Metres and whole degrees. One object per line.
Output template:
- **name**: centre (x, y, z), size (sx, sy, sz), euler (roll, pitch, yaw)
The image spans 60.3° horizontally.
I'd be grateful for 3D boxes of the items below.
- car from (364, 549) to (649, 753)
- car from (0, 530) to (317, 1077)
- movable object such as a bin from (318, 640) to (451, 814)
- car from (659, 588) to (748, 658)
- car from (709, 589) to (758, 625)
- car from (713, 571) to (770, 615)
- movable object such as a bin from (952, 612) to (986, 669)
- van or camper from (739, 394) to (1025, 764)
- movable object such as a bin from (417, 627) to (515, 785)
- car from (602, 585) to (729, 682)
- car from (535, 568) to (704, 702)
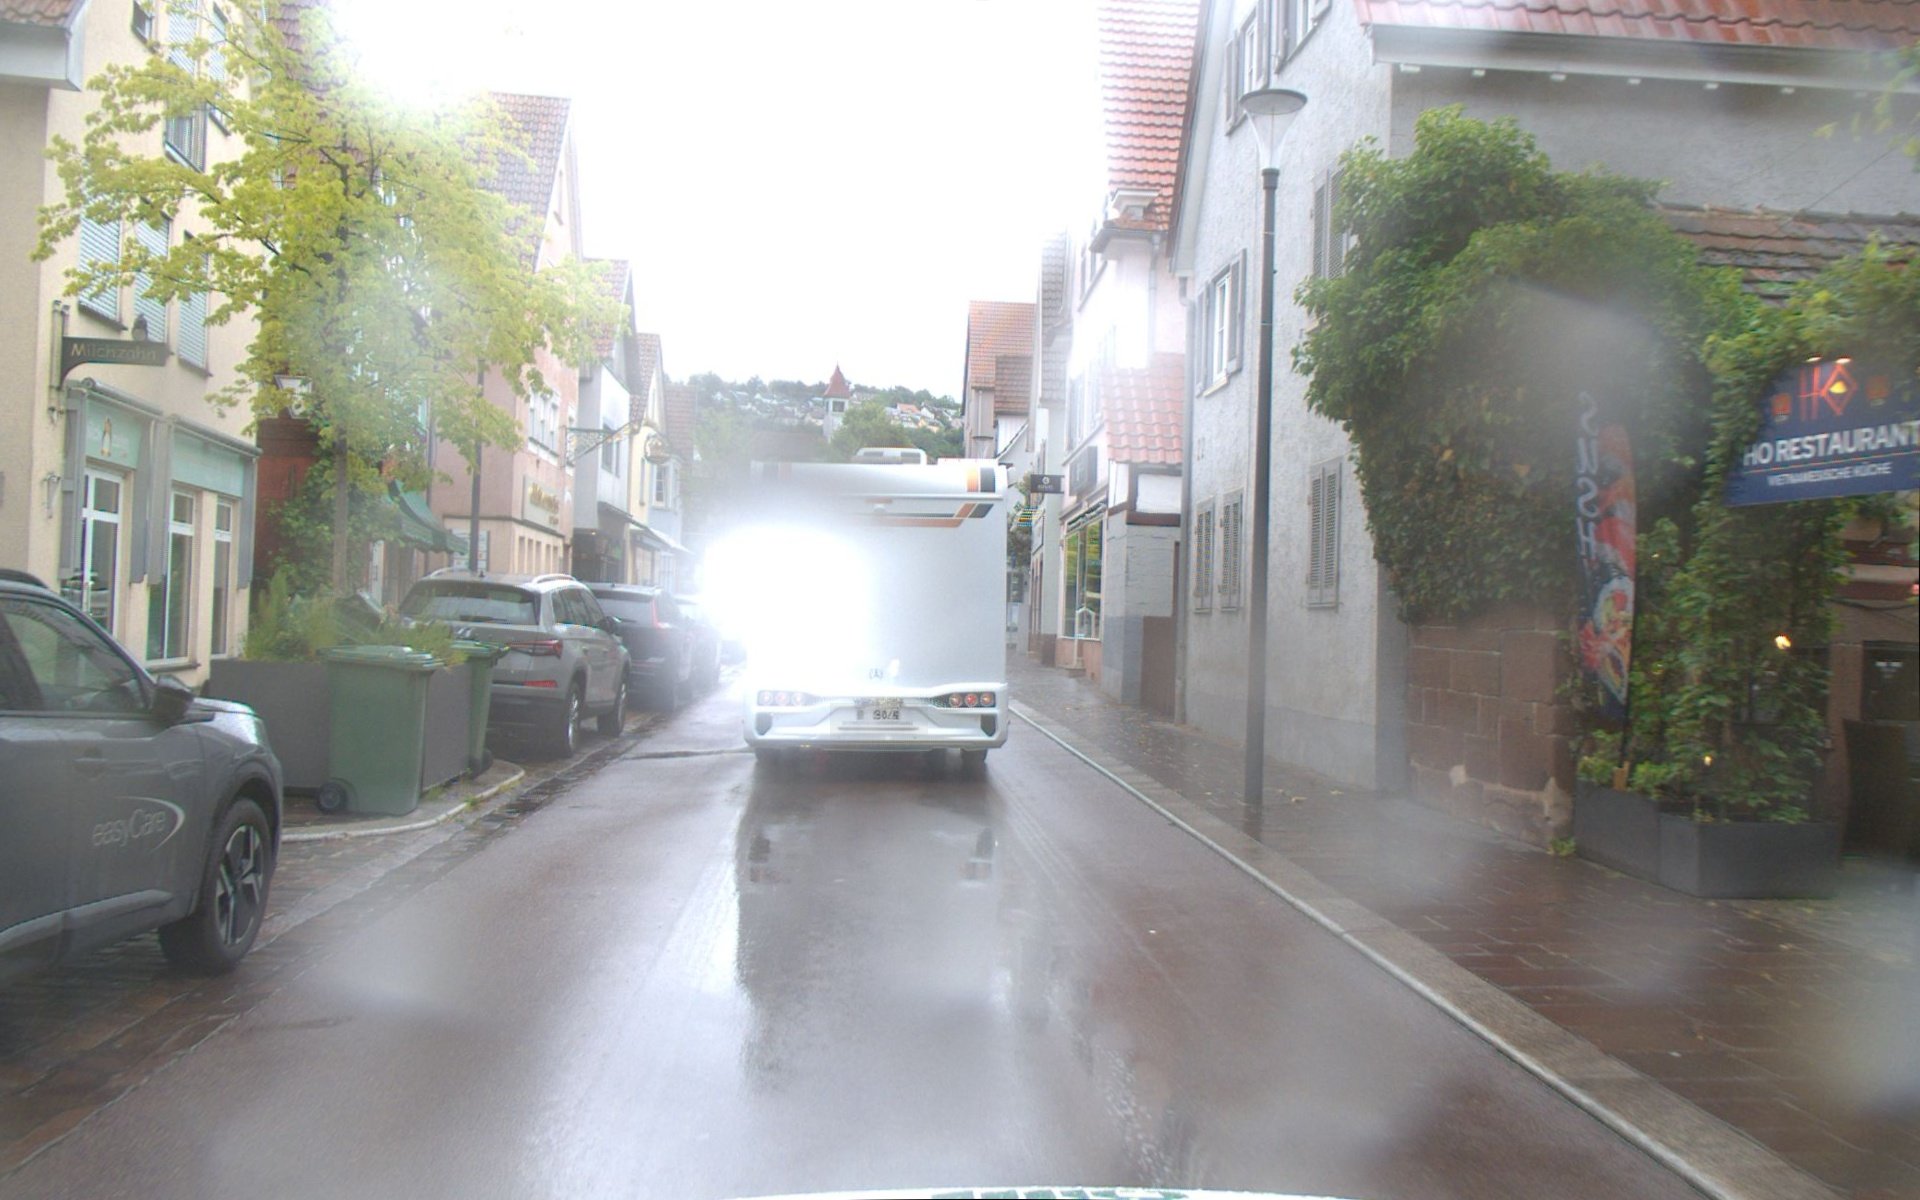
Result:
- **car**: centre (-4.401, 0.493, 16.777), size (1.736, 1.704, 4.477), euler (3, -1, -2)
- **car**: centre (-3.549, 0.578, 5.246), size (1.561, 1.573, 3.974), euler (1, -1, -3)
- **movable object such as a bin**: centre (-3.798, 0.825, 10.959), size (0.608, 1.098, 0.725), euler (1, -1, -2)
- **car**: centre (-6.231, 0.574, 40.489), size (1.791, 1.594, 3.996), euler (1, -1, -4)
- **car**: centre (-13.546, 0.408, 98.804), size (1.966, 2.049, 3.973), euler (2, -1, -22)
- **car**: centre (-8.243, -0.251, 62.213), size (1.957, 1.497, 3.991), euler (3, 0, -9)
- **movable object such as a bin**: centre (0.199, 0.878, 36.263), size (0.704, 1.222, 0.573), euler (1, -1, -2)
- **van or camper**: centre (-0.985, -0.103, 16.757), size (2.281, 2.970, 6.383), euler (2, -1, -7)
- **movable object such as a bin**: centre (-3.933, 0.832, 13.197), size (0.590, 1.222, 0.523), euler (1, -1, -1)
- **car**: centre (-5.226, 0.602, 29.826), size (1.797, 1.579, 4.277), euler (1, -1, -5)
- **car**: centre (-4.779, 0.504, 23.813), size (1.797, 1.704, 4.535), euler (1, -1, -5)
